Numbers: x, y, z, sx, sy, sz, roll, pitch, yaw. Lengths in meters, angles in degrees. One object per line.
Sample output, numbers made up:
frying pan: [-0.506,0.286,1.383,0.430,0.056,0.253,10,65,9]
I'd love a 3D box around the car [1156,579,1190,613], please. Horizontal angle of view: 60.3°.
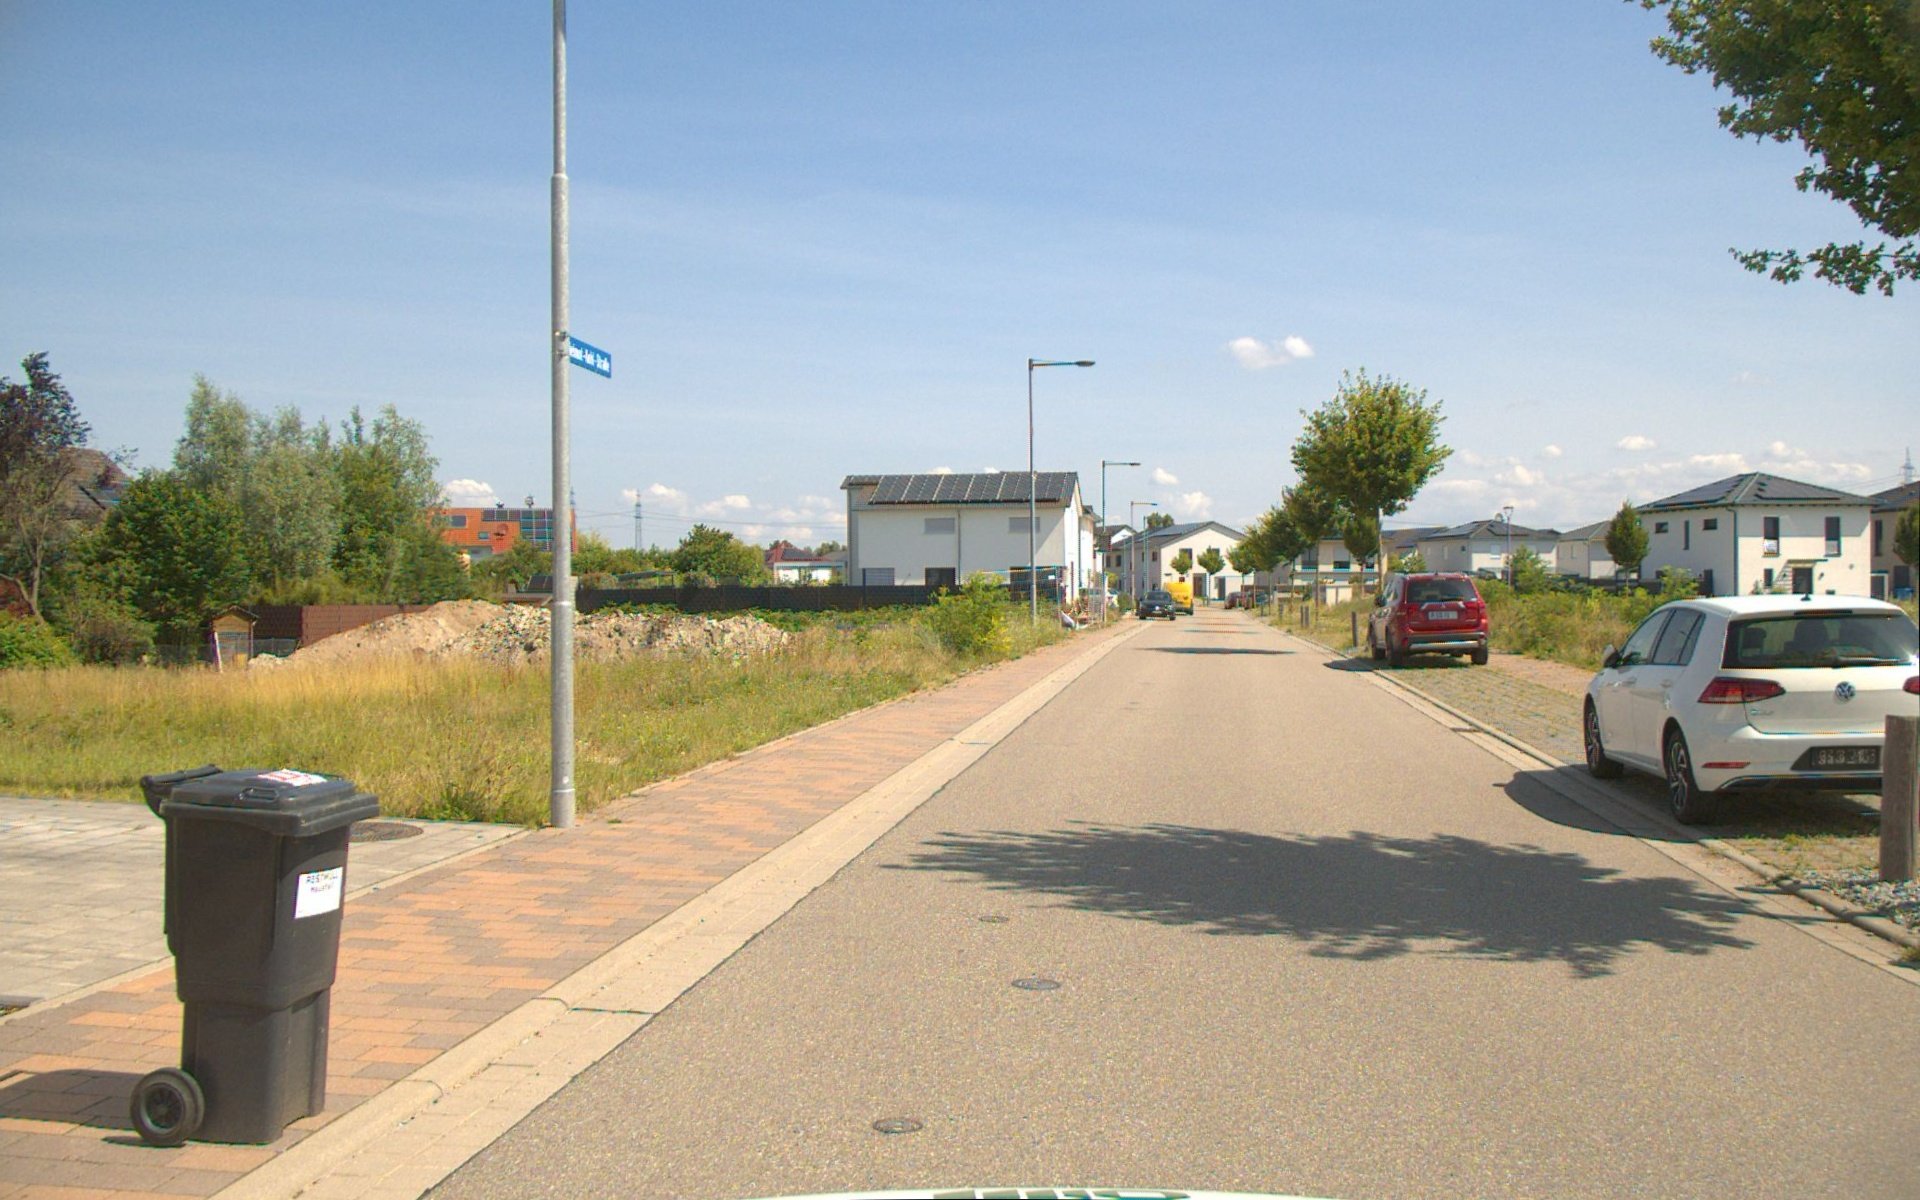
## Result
car: [13.363,-0.232,103.789,1.900,2.016,4.219,0,-1,4]

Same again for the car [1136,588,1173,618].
car: [9.895,0.126,84.005,1.708,1.429,4.163,2,1,8]

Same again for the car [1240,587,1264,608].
car: [21.686,-0.179,122.870,1.604,1.427,3.813,0,-1,7]

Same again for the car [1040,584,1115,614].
car: [6.760,-0.070,95.005,3.982,1.609,1.786,1,1,14]

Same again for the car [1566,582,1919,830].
car: [5.849,0.636,12.191,1.737,1.444,4.169,-2,1,8]

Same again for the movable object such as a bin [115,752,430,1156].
movable object such as a bin: [-1.802,0.906,4.391,0.610,0.965,0.500,0,-1,3]

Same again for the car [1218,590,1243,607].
car: [23.155,-0.136,141.484,1.594,1.346,3.834,0,-2,2]

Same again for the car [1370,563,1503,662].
car: [8.968,0.186,31.438,1.739,1.692,4.437,-2,1,7]
